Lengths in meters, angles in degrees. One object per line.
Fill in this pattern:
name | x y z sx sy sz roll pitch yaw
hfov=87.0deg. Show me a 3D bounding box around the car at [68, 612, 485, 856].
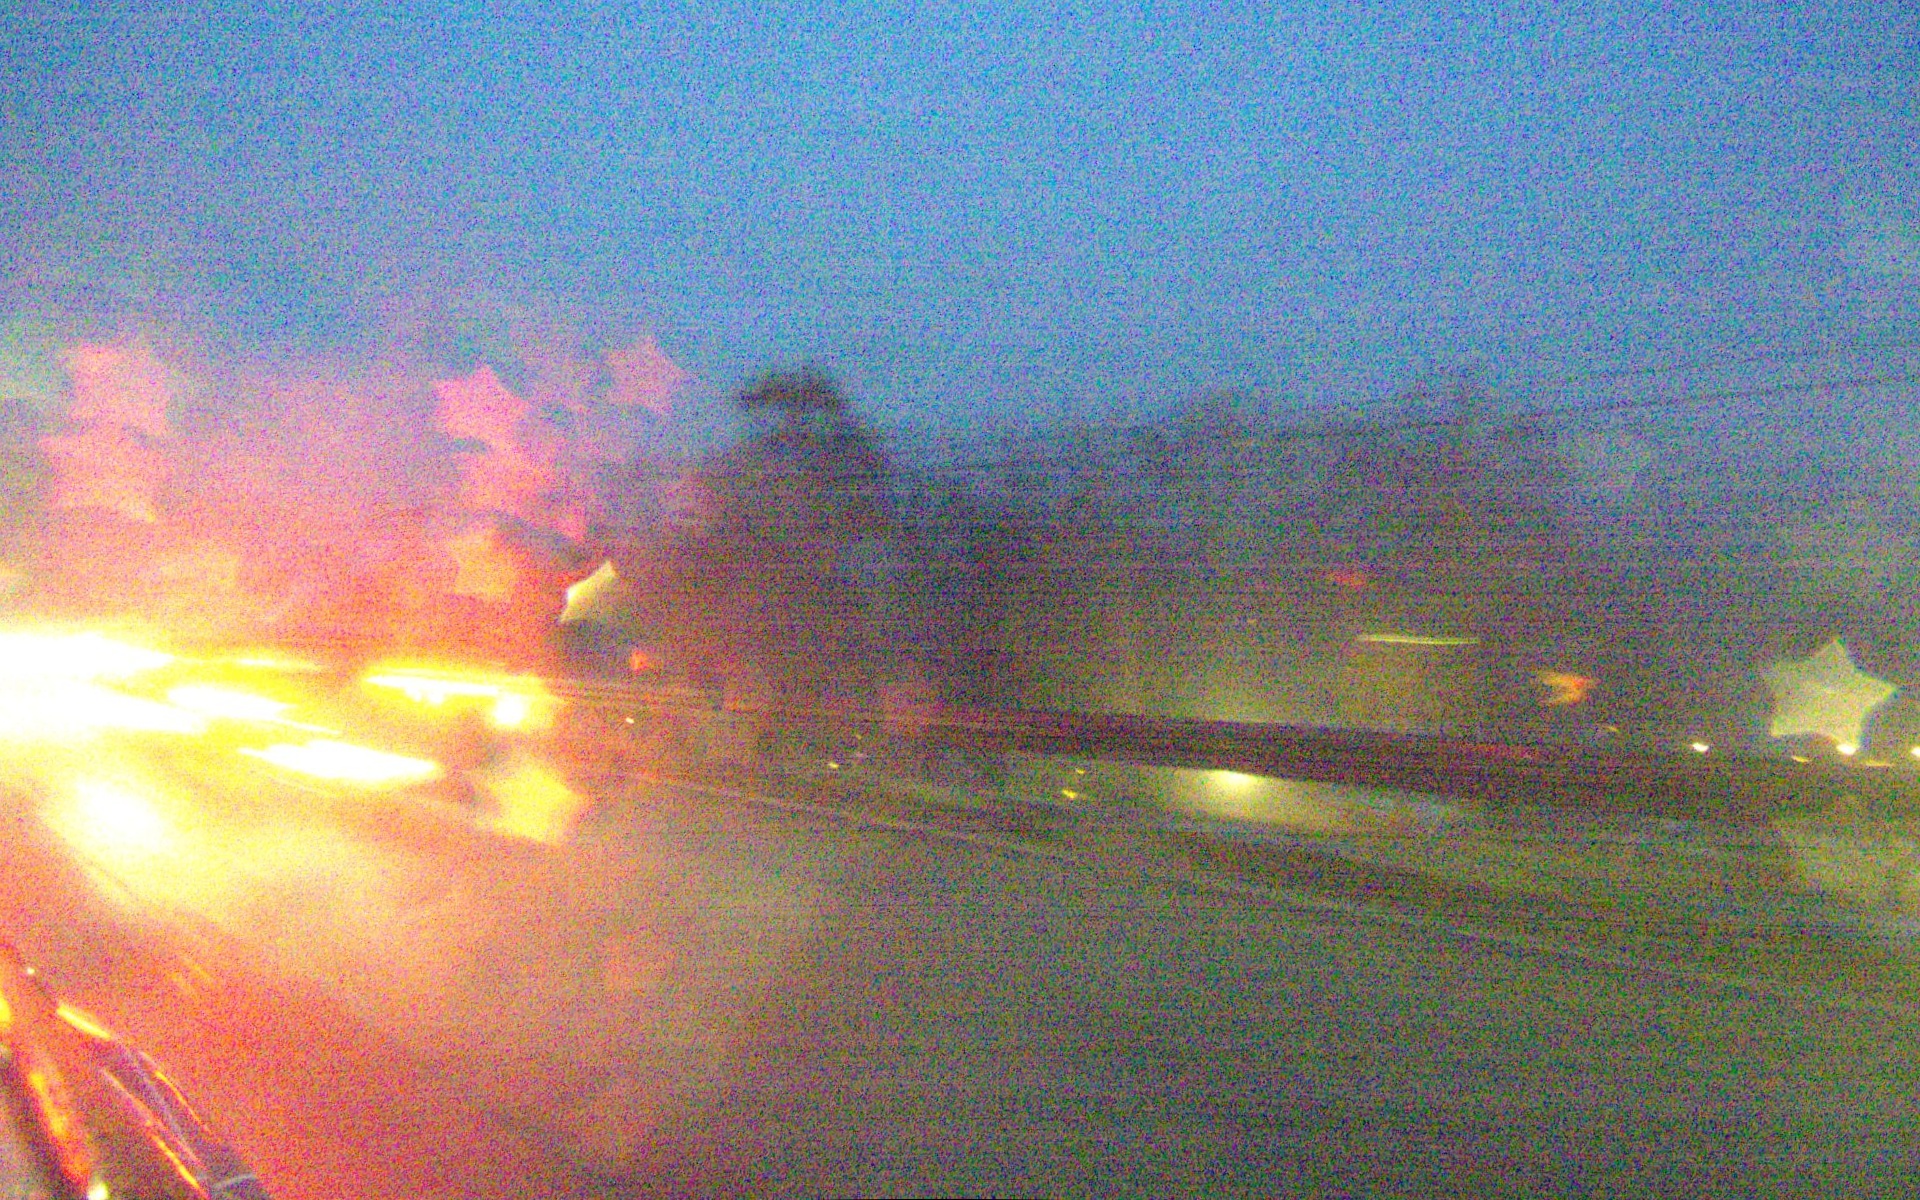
car | -5.437 0.836 7.865 3.858 1.413 1.722 -2 -1 40
